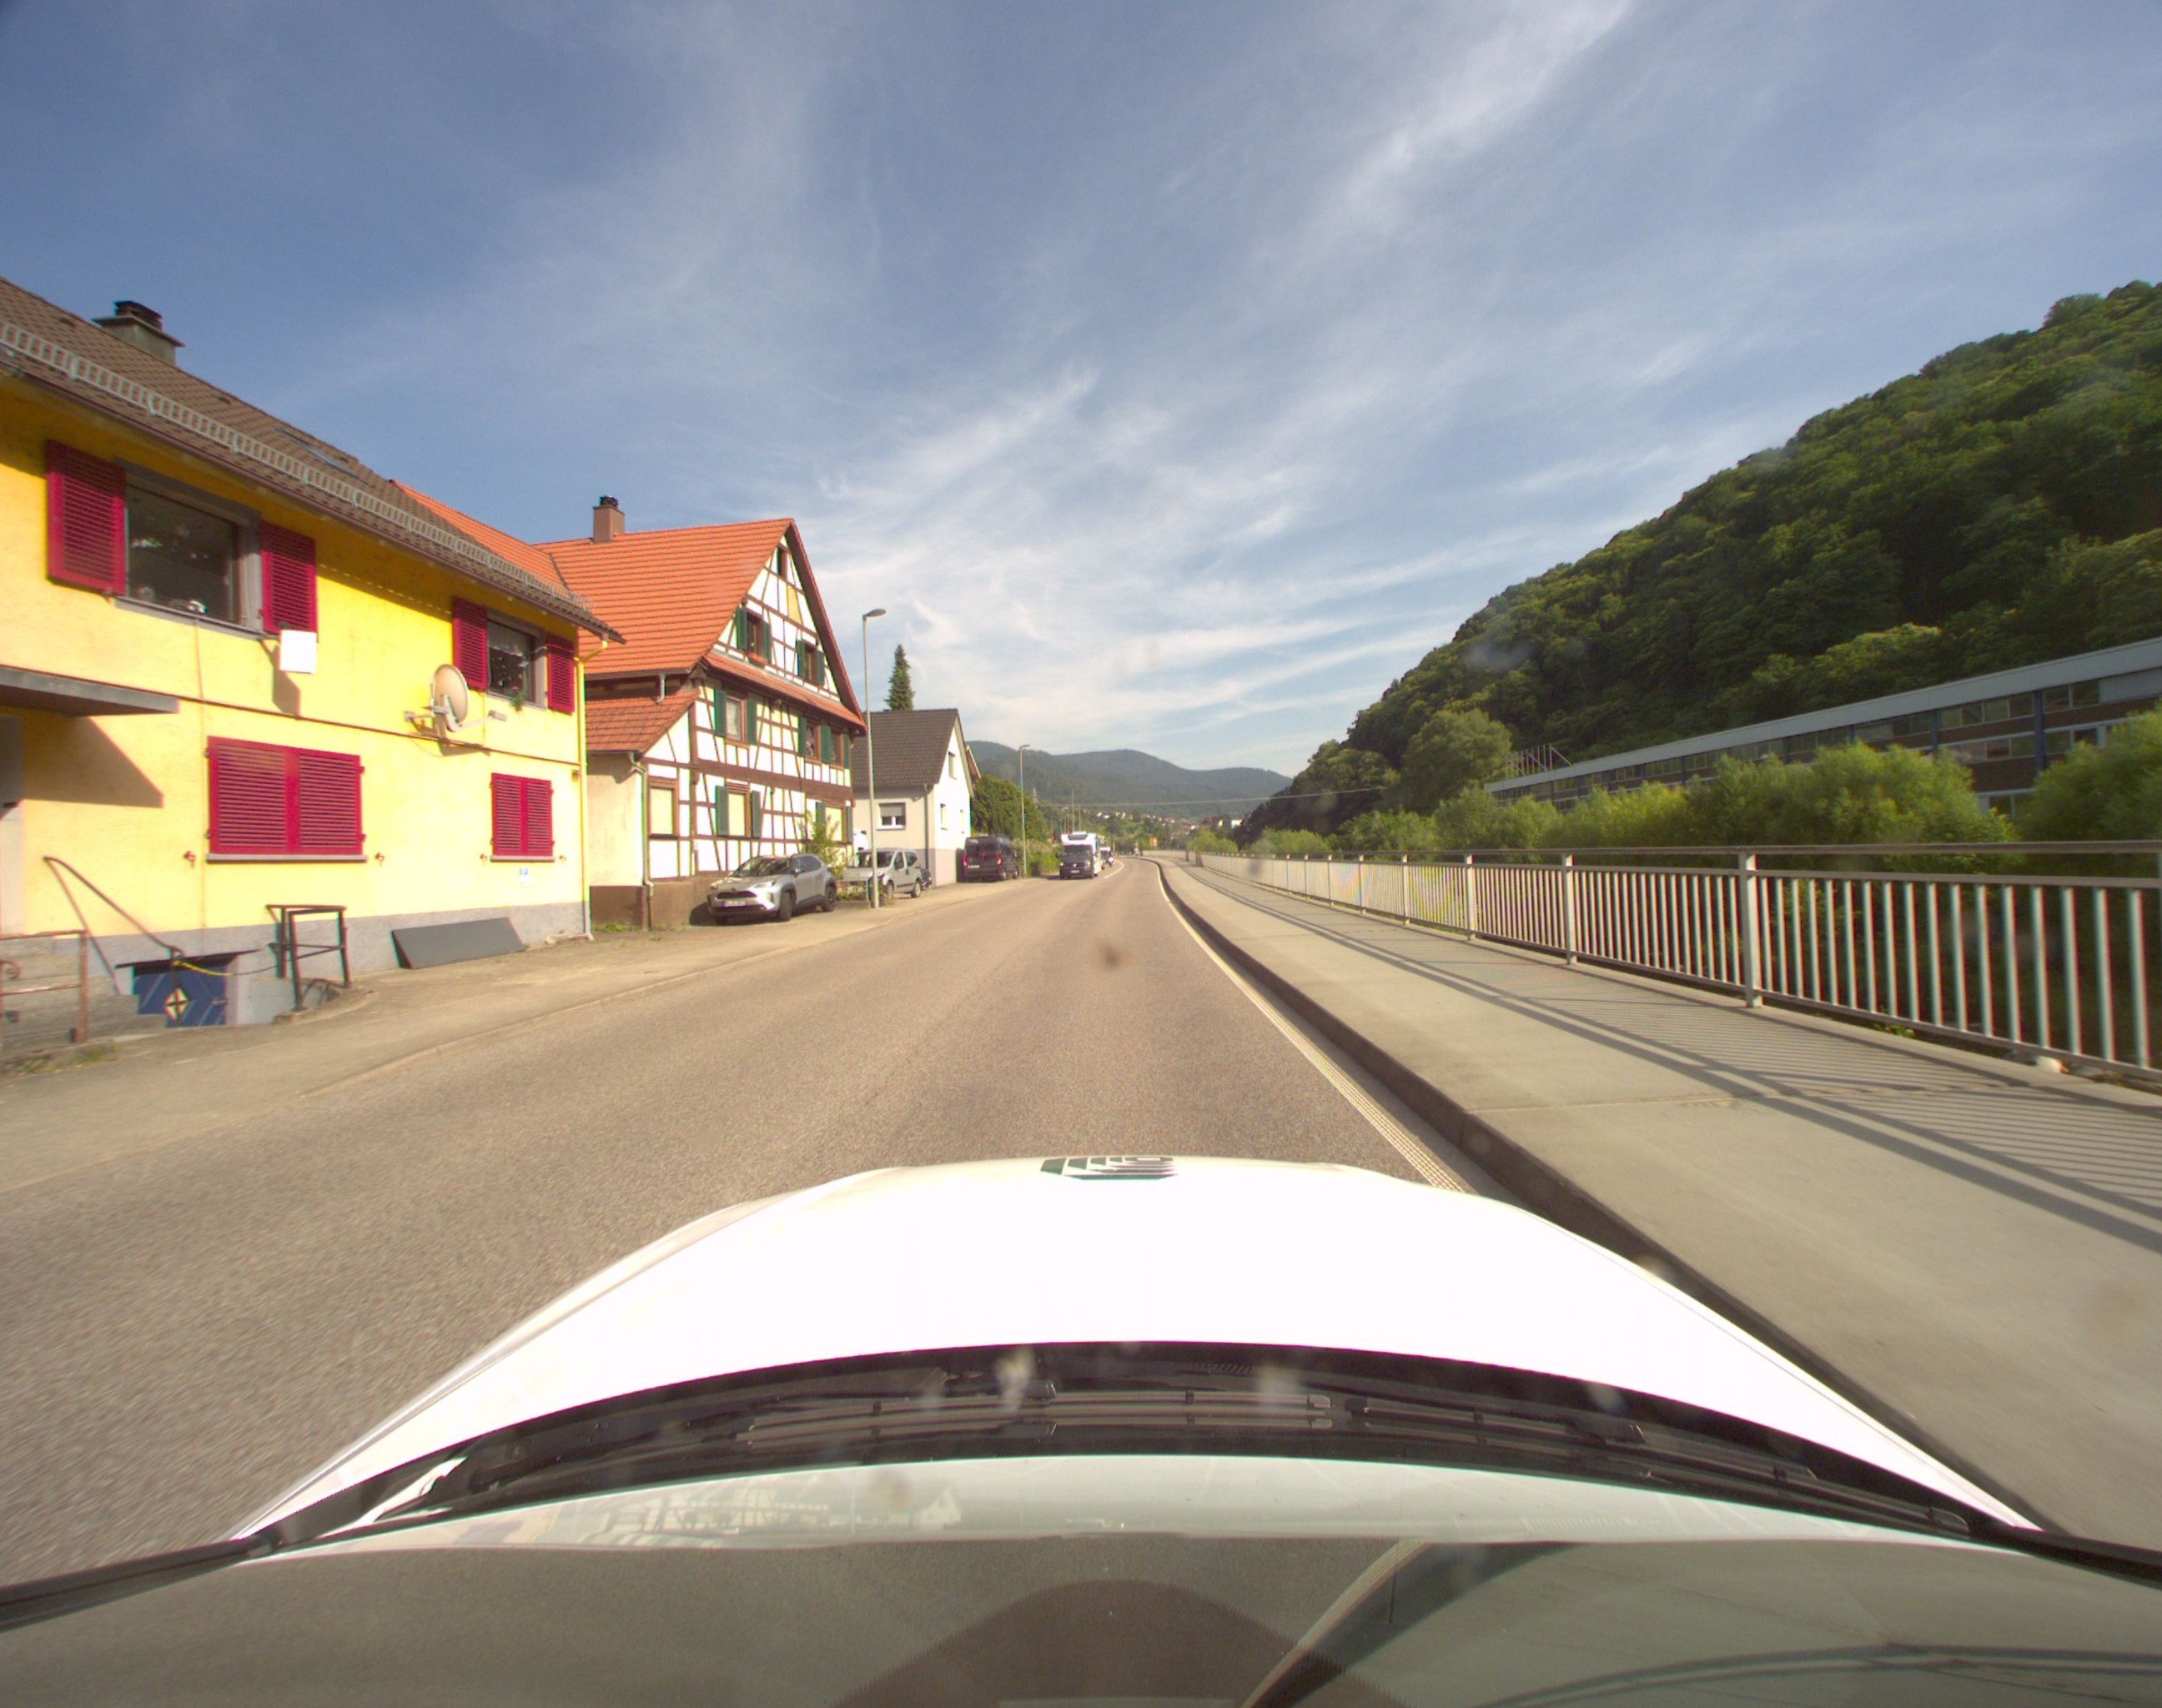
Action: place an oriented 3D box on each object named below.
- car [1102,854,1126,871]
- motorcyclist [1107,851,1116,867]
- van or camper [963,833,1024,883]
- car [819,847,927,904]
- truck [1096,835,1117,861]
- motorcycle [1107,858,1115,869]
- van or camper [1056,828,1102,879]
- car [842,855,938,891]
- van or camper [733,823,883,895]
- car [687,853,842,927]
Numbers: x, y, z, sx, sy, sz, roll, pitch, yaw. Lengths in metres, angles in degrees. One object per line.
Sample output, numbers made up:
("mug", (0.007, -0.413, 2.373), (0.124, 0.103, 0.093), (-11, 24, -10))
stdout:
("car", (3.113, 0.763, 75.418), (1.619, 1.485, 4.013), (0, 0, 11))
("motorcyclist", (3.131, 0.525, 84.235), (0.821, 1.558, 0.629), (-2, -1, 8))
("van or camper", (-4.798, 0.192, 45.662), (2.137, 2.555, 5.911), (-2, 0, 6))
("car", (-6.663, 0.652, 26.567), (1.890, 1.664, 4.277), (-1, 0, 8))
("truck", (4.073, -0.855, 131.048), (2.571, 3.931, 11.297), (-2, 0, -2))
("motorcycle", (3.152, 0.961, 84.756), (0.650, 1.068, 2.186), (-2, 0, 7))
("van or camper", (-0.029, -0.057, 51.534), (2.184, 2.938, 7.138), (-1, 0, 5))
("car", (-8.726, 0.843, 37.392), (3.901, 1.550, 1.909), (0, 0, 4))
("van or camper", (-10.640, 0.198, 31.888), (5.142, 2.663, 2.199), (0, 0, 11))
("car", (-7.484, 0.784, 19.747), (1.876, 1.519, 4.098), (-3, 0, 3))
